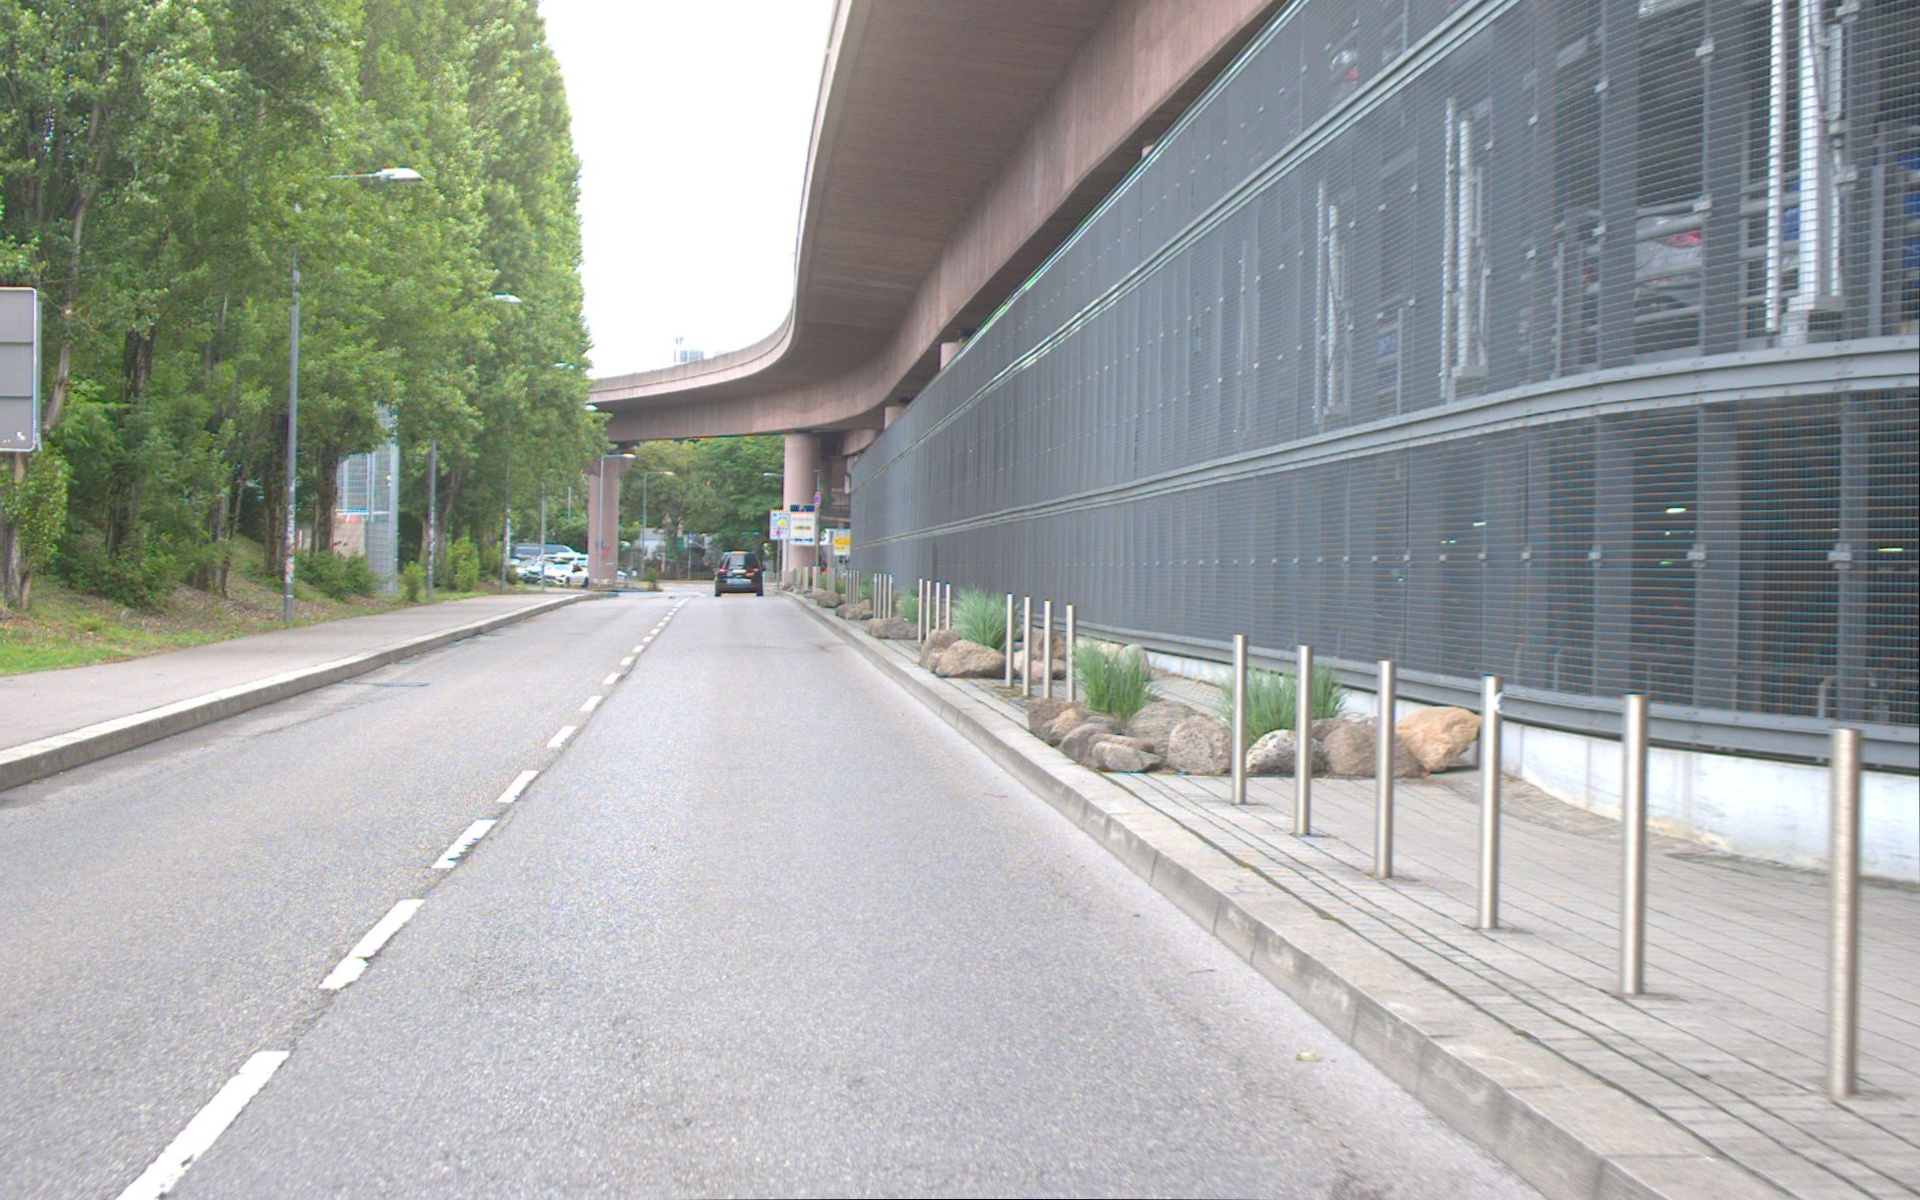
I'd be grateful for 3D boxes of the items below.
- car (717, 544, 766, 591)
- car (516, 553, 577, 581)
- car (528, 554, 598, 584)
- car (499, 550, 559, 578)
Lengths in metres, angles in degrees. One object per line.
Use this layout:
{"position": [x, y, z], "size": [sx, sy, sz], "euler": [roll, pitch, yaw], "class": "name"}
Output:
{"position": [-8.382, -1.255, 132.069], "size": [1.839, 1.705, 3.706], "euler": [1, 2, -3], "class": "car"}
{"position": [-25.941, -2.082, 215.546], "size": [1.723, 1.711, 3.665], "euler": [2, 3, 38], "class": "car"}
{"position": [-24.379, -1.905, 211.242], "size": [1.884, 1.711, 4.144], "euler": [2, 3, 38], "class": "car"}
{"position": [-27.467, -2.293, 219.099], "size": [1.723, 1.711, 3.665], "euler": [2, 3, 38], "class": "car"}
